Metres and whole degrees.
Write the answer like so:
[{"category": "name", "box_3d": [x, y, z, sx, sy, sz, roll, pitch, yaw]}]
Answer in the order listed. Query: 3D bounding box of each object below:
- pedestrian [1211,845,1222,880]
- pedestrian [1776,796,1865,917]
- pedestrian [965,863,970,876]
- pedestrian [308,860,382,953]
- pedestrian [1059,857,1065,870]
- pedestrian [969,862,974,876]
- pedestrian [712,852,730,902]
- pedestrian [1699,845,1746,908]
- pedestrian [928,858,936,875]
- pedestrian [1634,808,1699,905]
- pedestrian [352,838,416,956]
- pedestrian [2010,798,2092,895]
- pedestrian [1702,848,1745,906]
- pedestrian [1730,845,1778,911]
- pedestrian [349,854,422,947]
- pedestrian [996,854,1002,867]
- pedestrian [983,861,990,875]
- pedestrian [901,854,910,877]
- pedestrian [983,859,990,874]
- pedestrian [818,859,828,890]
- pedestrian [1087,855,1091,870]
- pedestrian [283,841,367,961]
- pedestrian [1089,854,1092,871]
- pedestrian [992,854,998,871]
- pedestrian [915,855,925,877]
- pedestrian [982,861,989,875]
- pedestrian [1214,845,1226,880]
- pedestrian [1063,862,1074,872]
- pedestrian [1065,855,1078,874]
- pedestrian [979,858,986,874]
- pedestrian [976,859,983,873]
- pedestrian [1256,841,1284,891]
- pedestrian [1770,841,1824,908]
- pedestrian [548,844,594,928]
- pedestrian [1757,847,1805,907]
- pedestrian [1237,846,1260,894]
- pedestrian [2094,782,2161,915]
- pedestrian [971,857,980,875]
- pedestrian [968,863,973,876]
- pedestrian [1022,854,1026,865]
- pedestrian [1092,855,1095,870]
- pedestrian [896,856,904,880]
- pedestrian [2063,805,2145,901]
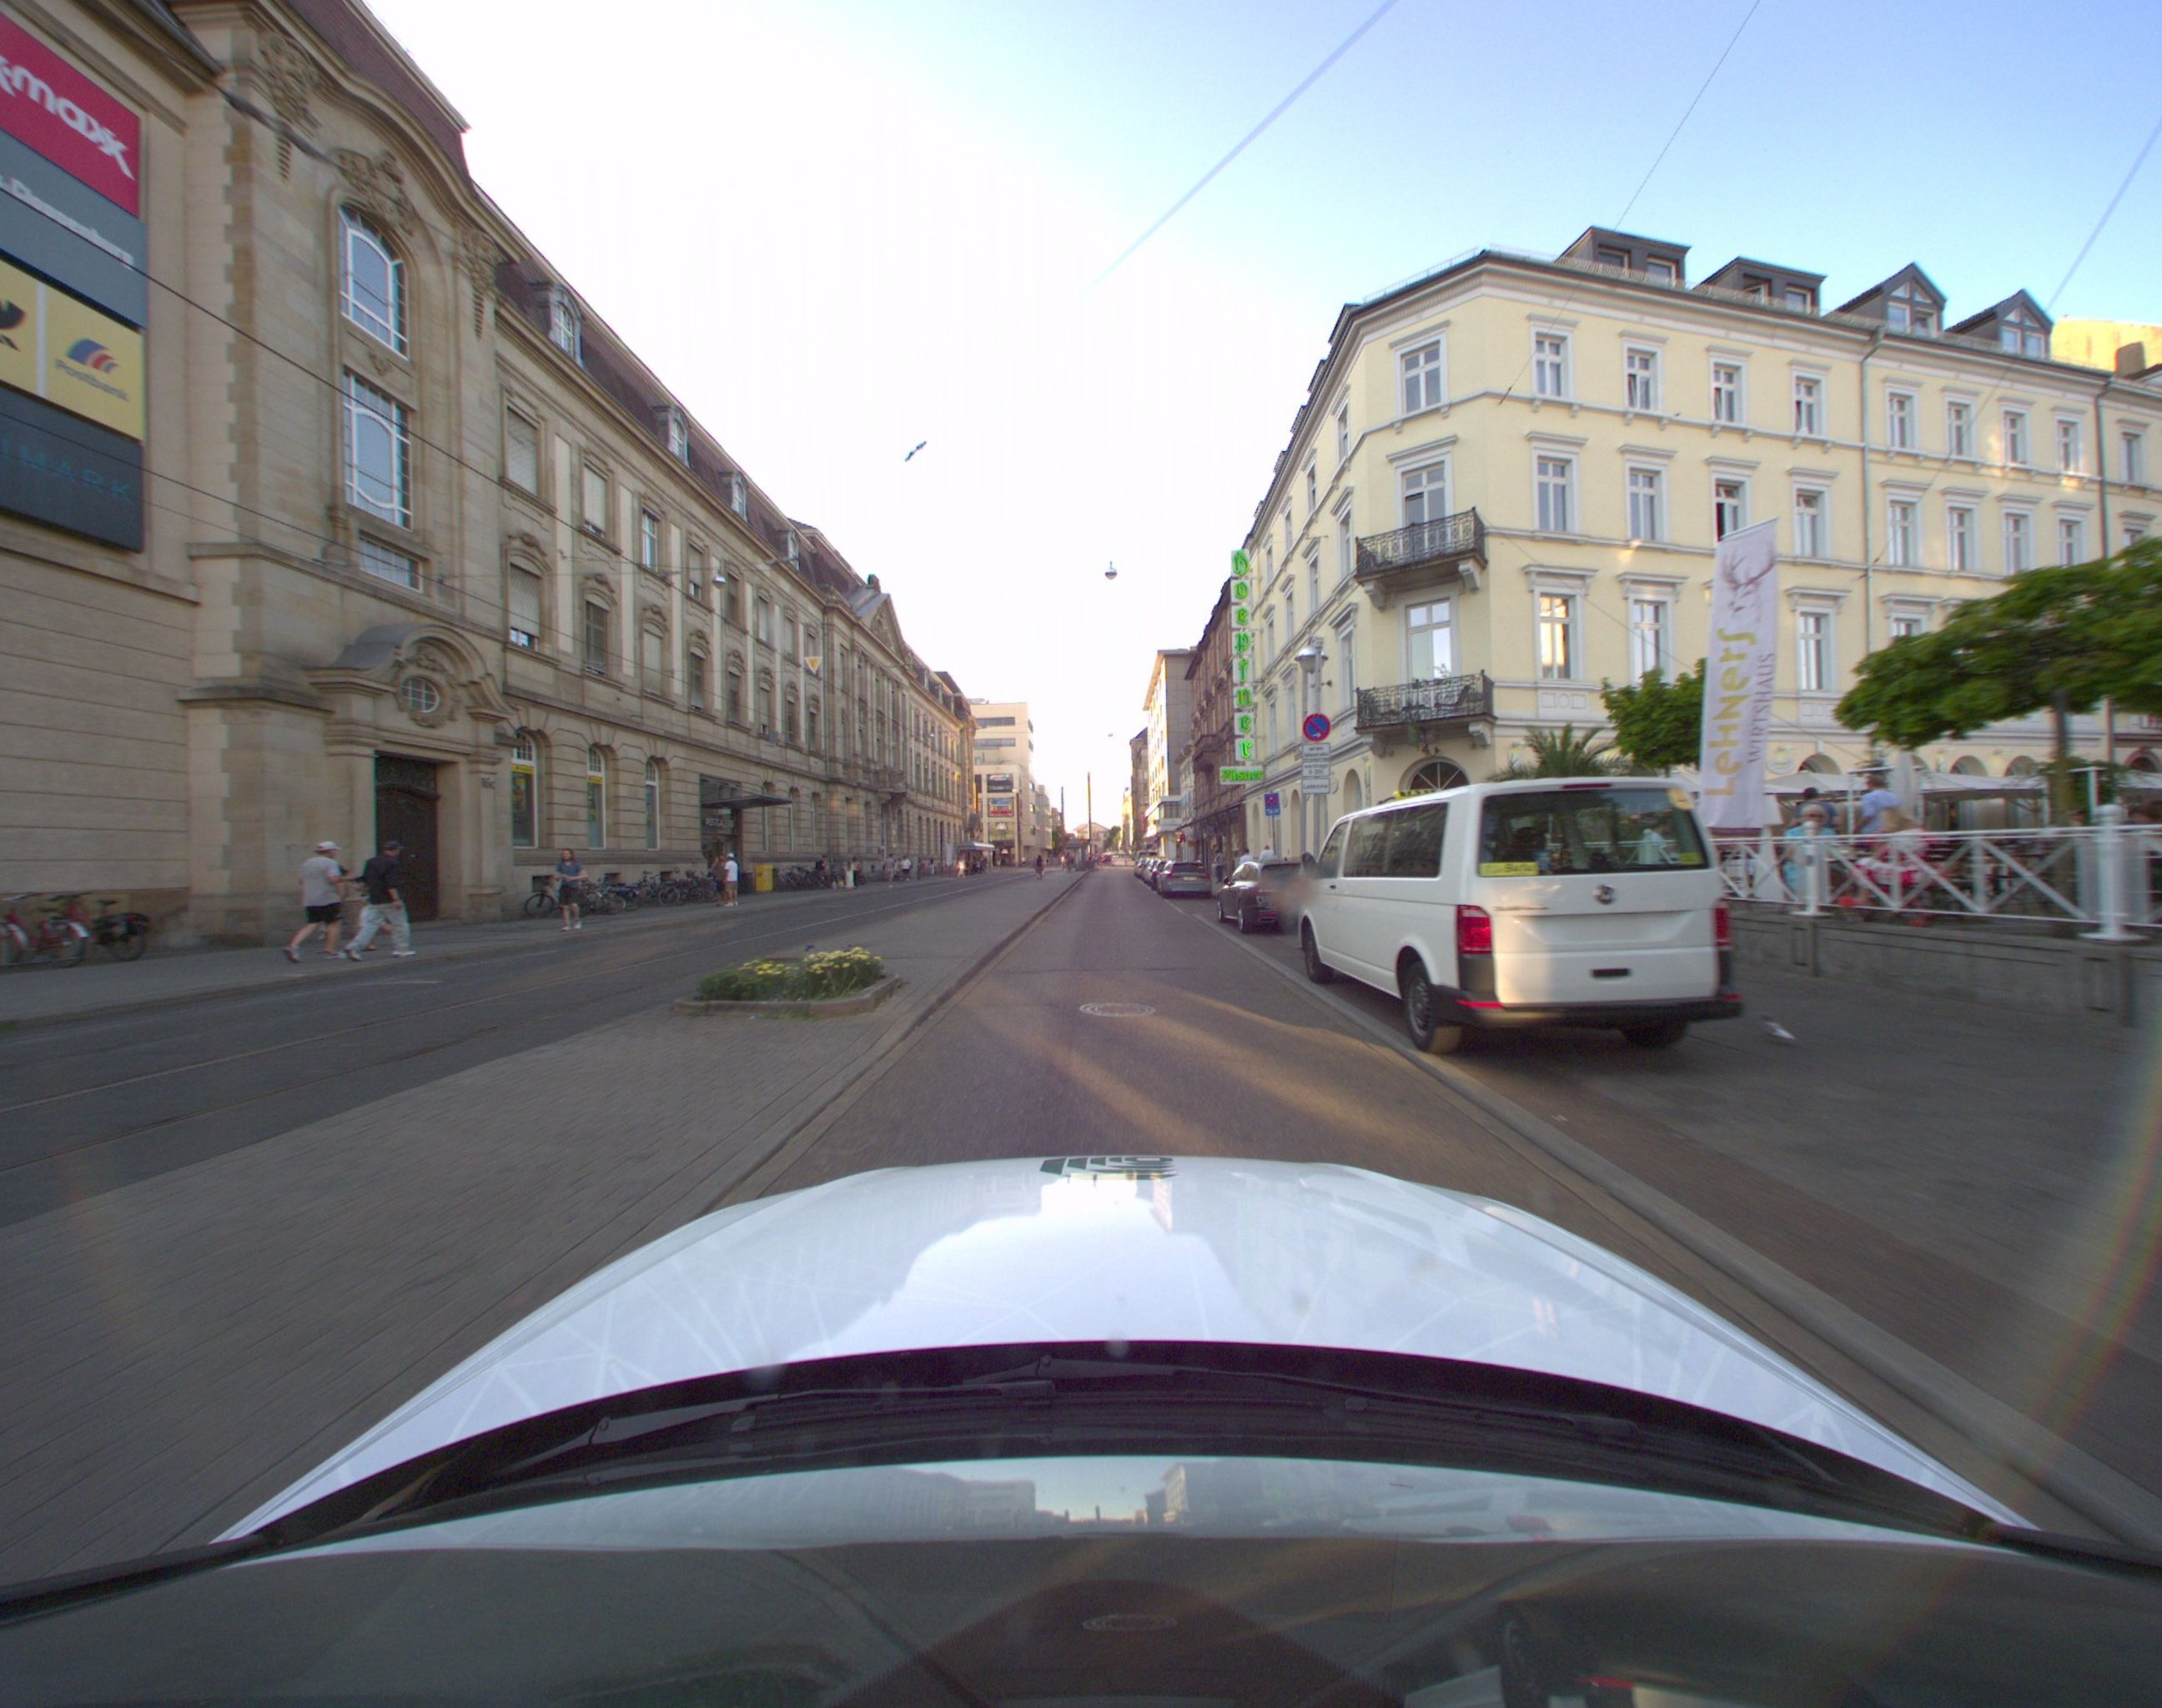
[{"category": "pedestrian", "box_3d": [6.935, 0.446, 41.579, 0.372, 1.768, 0.455, -3, -1, -2]}, {"category": "pedestrian", "box_3d": [8.150, 0.024, 8.987, 0.531, 1.296, 0.488, -1, 0, -14]}, {"category": "pedestrian", "box_3d": [-9.910, 1.376, 70.967, 0.362, 1.103, 0.430, 0, -1, 7]}, {"category": "pedestrian", "box_3d": [-12.805, 0.891, 14.182, 0.658, 1.562, 0.679, -1, -1, -2]}, {"category": "pedestrian", "box_3d": [-2.588, 1.300, 113.187, 0.695, 1.815, 0.854, 0, -1, 10]}, {"category": "pedestrian", "box_3d": [-9.755, 1.327, 72.397, 0.362, 1.200, 0.430, 0, -1, 7]}, {"category": "pedestrian", "box_3d": [-12.190, 0.772, 27.575, 0.374, 1.673, 0.493, 0, -1, -4]}, {"category": "pedestrian", "box_3d": [13.704, 0.476, 17.407, 0.594, 1.328, 0.489, -1, 0, -12]}, {"category": "pedestrian", "box_3d": [-13.385, 1.115, 73.358, 0.660, 1.562, 0.677, -1, -1, -13]}, {"category": "pedestrian", "box_3d": [8.124, 0.034, 11.316, 0.528, 1.296, 0.491, -1, 0, 1]}, {"category": "pedestrian", "box_3d": [-10.644, 0.636, 12.456, 0.653, 1.736, 0.588, -2, 0, -38]}, {"category": "pedestrian", "box_3d": [13.667, -0.105, 11.483, 0.487, 1.333, 0.532, -1, 0, 1]}, {"category": "pedestrian", "box_3d": [14.631, 0.520, 18.548, 0.594, 1.280, 0.489, -1, 0, -12]}, {"category": "pedestrian", "box_3d": [13.934, 0.489, 16.863, 0.594, 1.328, 0.489, -1, 0, -12]}, {"category": "pedestrian", "box_3d": [-12.074, 0.796, 14.154, 0.658, 1.562, 0.679, -1, -1, -2]}, {"category": "pedestrian", "box_3d": [-9.848, 0.773, 97.333, 0.529, 1.525, 0.498, -1, -1, -28]}, {"category": "pedestrian", "box_3d": [-9.433, 1.389, 81.249, 0.515, 1.327, 0.639, -1, -1, 5]}, {"category": "pedestrian", "box_3d": [-12.246, 0.810, 56.915, 0.473, 1.642, 0.563, 0, -1, 7]}, {"category": "pedestrian", "box_3d": [-9.866, 1.305, 85.191, 0.515, 1.569, 0.639, -1, -1, 5]}, {"category": "pedestrian", "box_3d": [-13.685, 1.060, 43.186, 0.362, 1.633, 0.430, 0, -1, 7]}, {"category": "pedestrian", "box_3d": [0.884, 0.950, 90.455, 0.384, 1.642, 0.549, 0, -1, -1]}, {"category": "pedestrian", "box_3d": [-11.496, 0.691, 12.407, 0.681, 1.736, 0.672, -3, 0, -20]}, {"category": "pedestrian", "box_3d": [1.020, 0.919, 87.441, 0.410, 1.767, 0.594, 0, -1, -1]}, {"category": "pedestrian", "box_3d": [-9.357, 0.900, 88.273, 0.558, 1.776, 0.468, -1, -1, -3]}, {"category": "pedestrian", "box_3d": [-11.626, 0.868, 58.834, 0.565, 1.605, 0.442, -1, -1, 18]}, {"category": "pedestrian", "box_3d": [-9.455, 1.377, 80.481, 0.515, 1.327, 0.639, -1, -1, 5]}, {"category": "pedestrian", "box_3d": [7.004, 0.421, 41.069, 0.372, 1.768, 0.663, -3, -1, -2]}, {"category": "pedestrian", "box_3d": [-1.141, 1.241, 75.971, 0.791, 0.939, 0.697, -1, -1, 24]}, {"category": "pedestrian", "box_3d": [-0.800, 0.896, 70.925, 0.679, 1.638, 0.866, -2, -1, 42]}, {"category": "pedestrian", "box_3d": [-10.236, 1.278, 84.432, 0.515, 1.646, 0.639, -1, -1, 5]}, {"category": "pedestrian", "box_3d": [-9.687, 1.116, 77.763, 0.515, 1.327, 0.639, -1, -1, 5]}, {"category": "pedestrian", "box_3d": [6.816, 0.427, 29.348, 0.753, 1.689, 0.554, -6, -1, 19]}, {"category": "pedestrian", "box_3d": [14.597, 0.415, 16.610, 0.489, 1.328, 0.634, -1, 0, -11]}, {"category": "pedestrian", "box_3d": [-10.932, 0.682, 17.483, 0.680, 1.736, 0.479, -3, 0, -20]}, {"category": "pedestrian", "box_3d": [14.873, 0.480, 17.311, 0.594, 1.250, 0.489, -1, 0, -12]}, {"category": "pedestrian", "box_3d": [6.097, 0.571, 29.629, 0.614, 1.689, 0.488, -6, -1, 17]}, {"category": "pedestrian", "box_3d": [11.064, -0.060, 8.421, 0.528, 1.333, 0.491, -1, 0, 1]}, {"category": "pedestrian", "box_3d": [-9.797, 1.105, 75.431, 0.513, 1.650, 0.641, -2, -2, 23]}, {"category": "pedestrian", "box_3d": [-9.736, 1.384, 71.550, 0.362, 1.103, 0.430, 0, -1, 7]}, {"category": "pedestrian", "box_3d": [-10.236, 1.006, 146.363, 0.569, 1.855, 0.819, 0, -1, 13]}, {"category": "pedestrian", "box_3d": [1.426, 0.989, 93.268, 0.340, 1.796, 0.544, 0, -1, -1]}, {"category": "pedestrian", "box_3d": [-12.683, 0.993, 56.996, 0.333, 1.642, 0.607, 0, -1, 9]}, {"category": "pedestrian", "box_3d": [14.770, -0.014, 11.766, 0.487, 1.333, 0.532, -1, 0, 1]}]
